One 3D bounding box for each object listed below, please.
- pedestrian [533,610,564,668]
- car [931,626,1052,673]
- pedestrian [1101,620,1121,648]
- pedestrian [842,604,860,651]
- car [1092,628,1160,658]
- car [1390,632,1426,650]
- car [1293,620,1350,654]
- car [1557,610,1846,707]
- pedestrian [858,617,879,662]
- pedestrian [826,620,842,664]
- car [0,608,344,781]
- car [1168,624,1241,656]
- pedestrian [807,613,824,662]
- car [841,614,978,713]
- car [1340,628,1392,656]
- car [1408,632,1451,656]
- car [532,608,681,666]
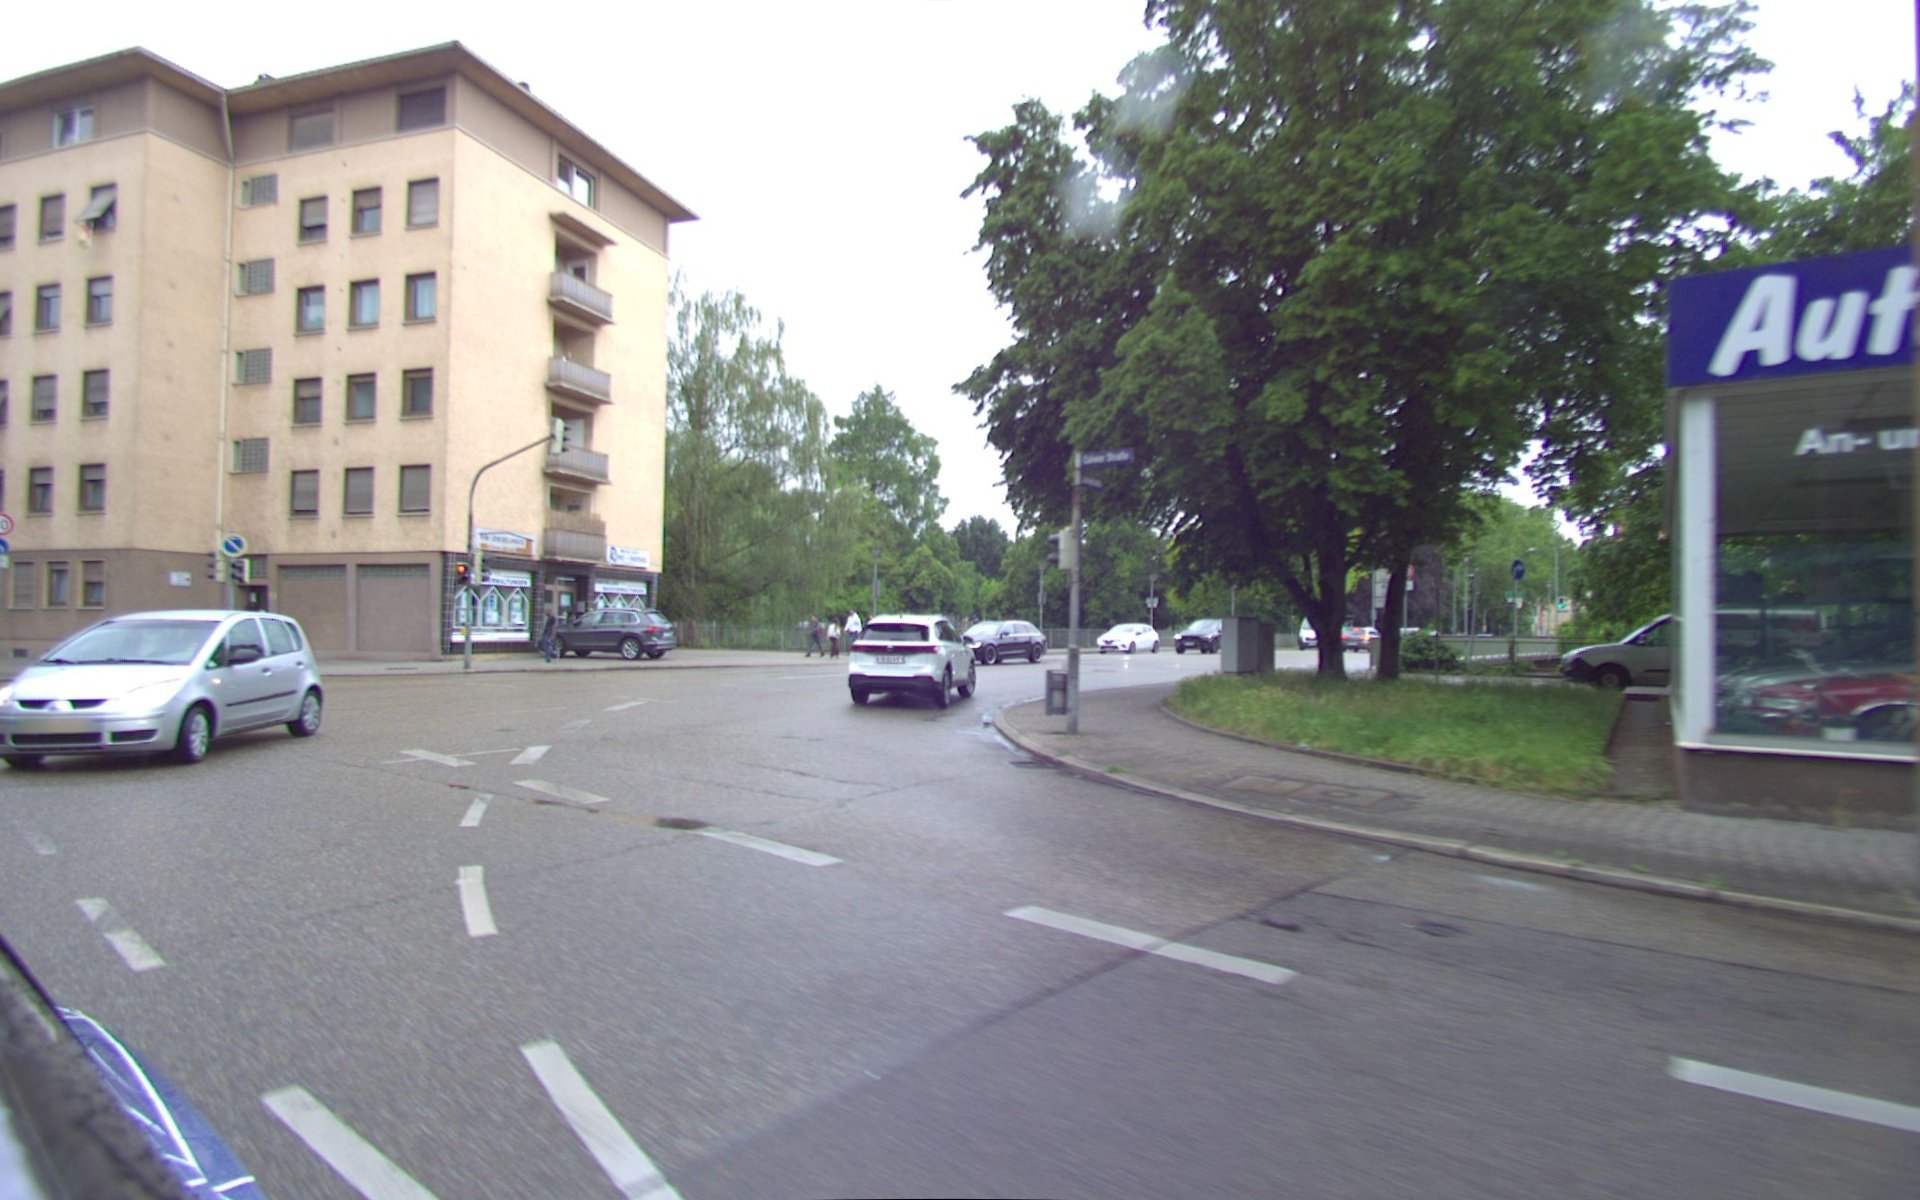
[{"bbox_3d":[-11.961,1.130,29.426,0.618,1.651,0.574,-1,-3,41],"label":"pedestrian"},{"bbox_3d":[1.144,1.637,34.650,1.996,1.474,4.451,0,-2,36],"label":"car"},{"bbox_3d":[8.154,1.853,54.692,0.789,1.485,0.697,-1,-3,40],"label":"pedestrian"},{"bbox_3d":[-4.259,1.084,39.504,0.500,1.817,0.499,1,-2,-28],"label":"pedestrian"},{"bbox_3d":[8.036,2.042,48.765,1.650,1.319,3.950,-1,-2,37],"label":"car"},{"bbox_3d":[34.907,3.176,78.747,1.747,1.319,3.950,-1,-1,37],"label":"car"},{"bbox_3d":[22.226,2.271,62.111,2.214,2.017,4.321,-1,-2,36],"label":"car"},{"bbox_3d":[15.387,1.164,21.420,4.727,1.844,1.961,0,-2,31],"label":"car"},{"bbox_3d":[-3.437,1.468,38.034,0.691,1.659,0.661,1,-1,-11],"label":"pedestrian"},{"bbox_3d":[-4.593,1.514,37.029,0.457,1.595,0.440,0,-1,11],"label":"pedestrian"},{"bbox_3d":[-8.579,0.875,11.059,1.726,1.530,4.007,0,-1,-8],"label":"car"},{"bbox_3d":[11.673,1.870,48.175,1.997,1.448,3.950,-1,-1,37],"label":"car"},{"bbox_3d":[-5.386,1.388,37.753,0.550,1.817,0.477,1,-1,-14],"label":"pedestrian"},{"bbox_3d":[-0.844,1.167,19.734,1.823,1.684,4.461,0,-2,8],"label":"car"},{"bbox_3d":[23.062,2.387,57.471,1.756,1.498,3.955,-1,-2,38],"label":"car"},{"bbox_3d":[32.430,3.033,69.886,1.829,1.601,4.269,-1,-2,38],"label":"car"},{"bbox_3d":[-11.392,1.174,32.709,4.236,1.660,1.754,2,-1,11],"label":"car"}]
